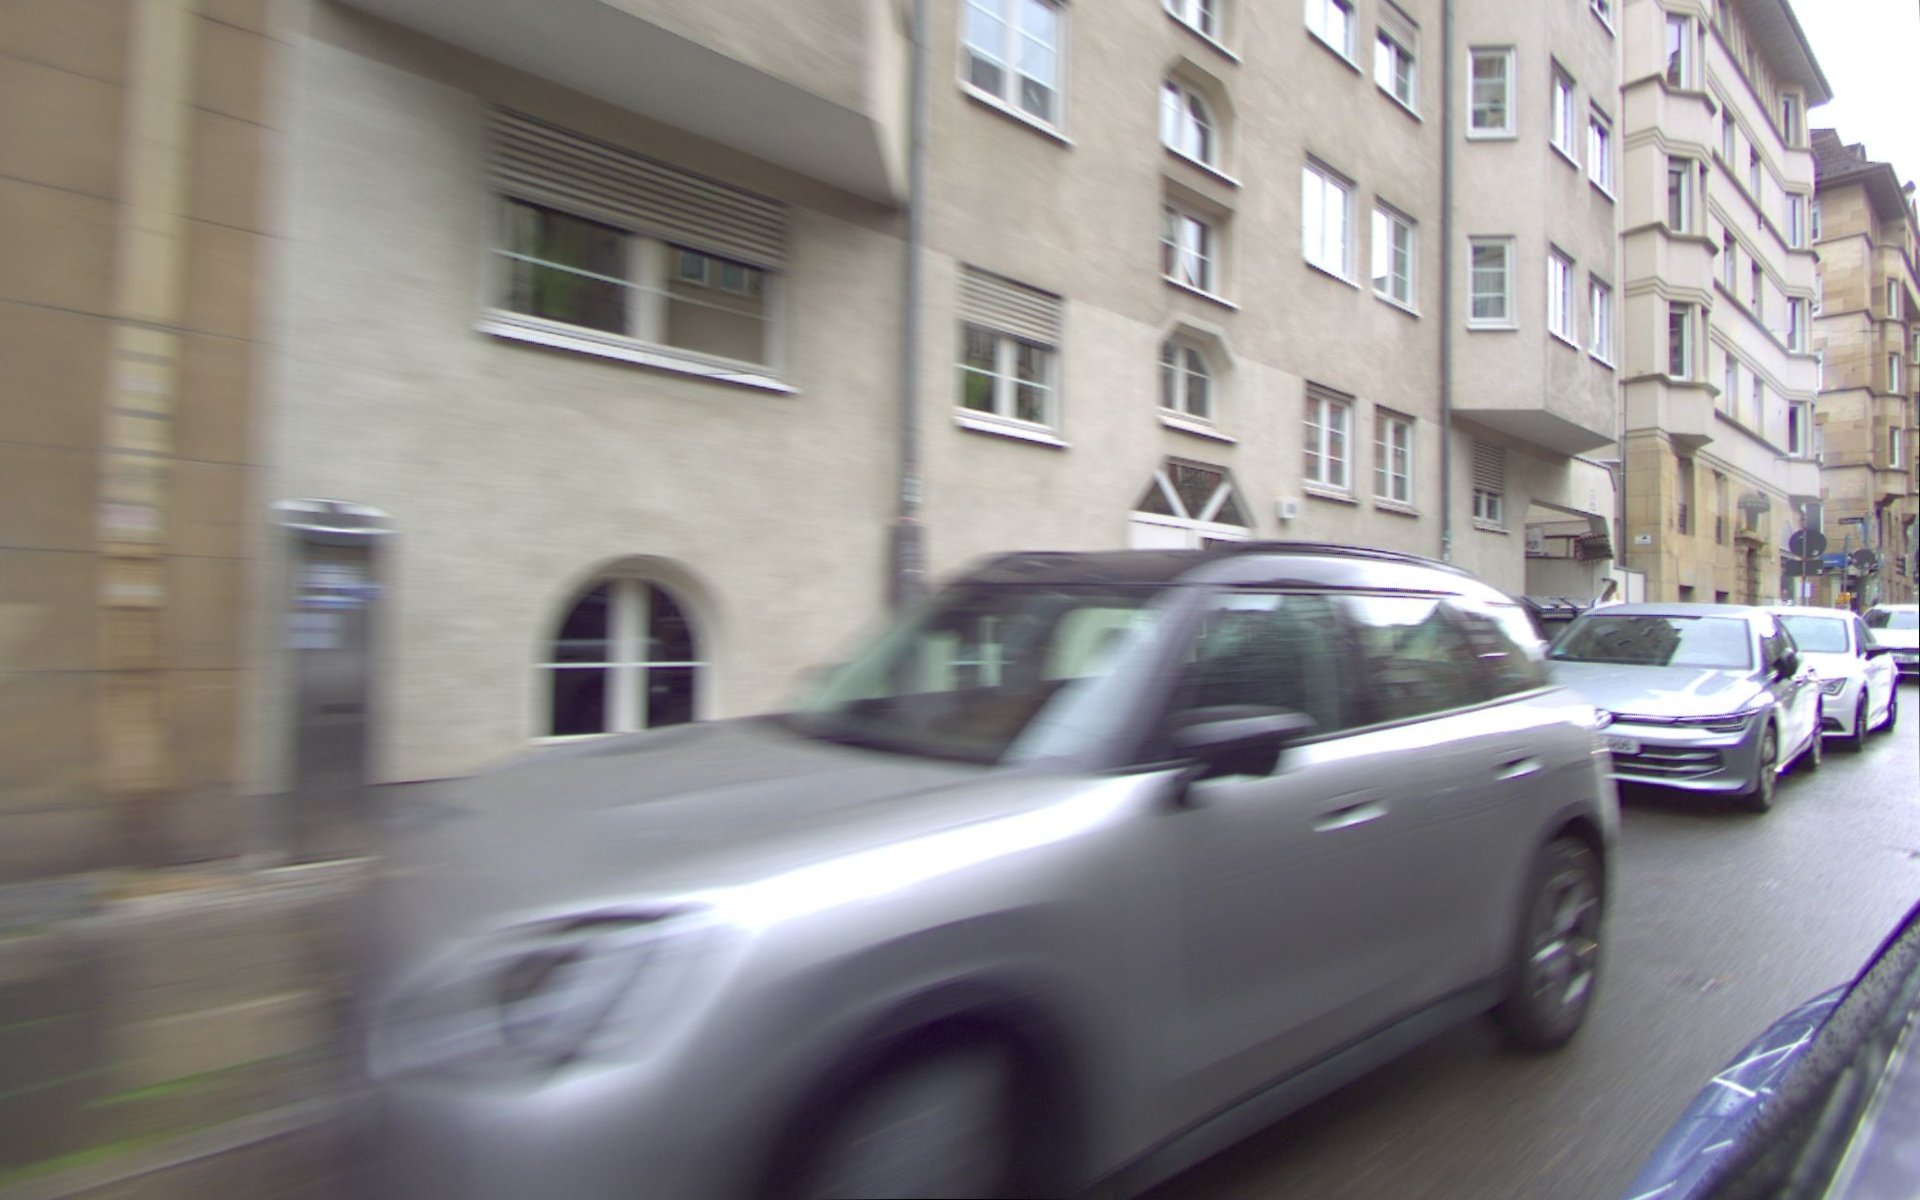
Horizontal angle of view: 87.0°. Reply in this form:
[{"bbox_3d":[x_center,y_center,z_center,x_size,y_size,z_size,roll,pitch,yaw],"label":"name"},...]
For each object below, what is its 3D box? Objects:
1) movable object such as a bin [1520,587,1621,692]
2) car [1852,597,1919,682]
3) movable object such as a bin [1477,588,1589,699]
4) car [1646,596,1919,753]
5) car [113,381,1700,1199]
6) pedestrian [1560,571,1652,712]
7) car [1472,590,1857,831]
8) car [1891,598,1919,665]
[{"bbox_3d":[9.209,0.555,15.265,1.251,1.486,0.981,-1,1,-41],"label":"movable object such as a bin"},{"bbox_3d":[19.194,0.710,20.026,4.690,1.486,1.715,-1,1,-41],"label":"car"},{"bbox_3d":[8.136,0.573,14.357,1.300,1.486,1.019,-1,1,-41],"label":"movable object such as a bin"},{"bbox_3d":[9.543,0.692,11.567,4.319,1.403,1.792,-1,1,-41],"label":"car"},{"bbox_3d":[0.457,0.568,3.148,4.675,1.628,1.845,-1,1,-39],"label":"car"},{"bbox_3d":[8.163,0.494,12.796,0.741,1.708,0.805,0,1,-41],"label":"pedestrian"},{"bbox_3d":[6.094,0.677,8.539,4.302,1.486,1.834,-1,1,-43],"label":"car"},{"bbox_3d":[23.190,0.685,23.466,4.731,1.428,1.714,-1,1,-39],"label":"car"}]
